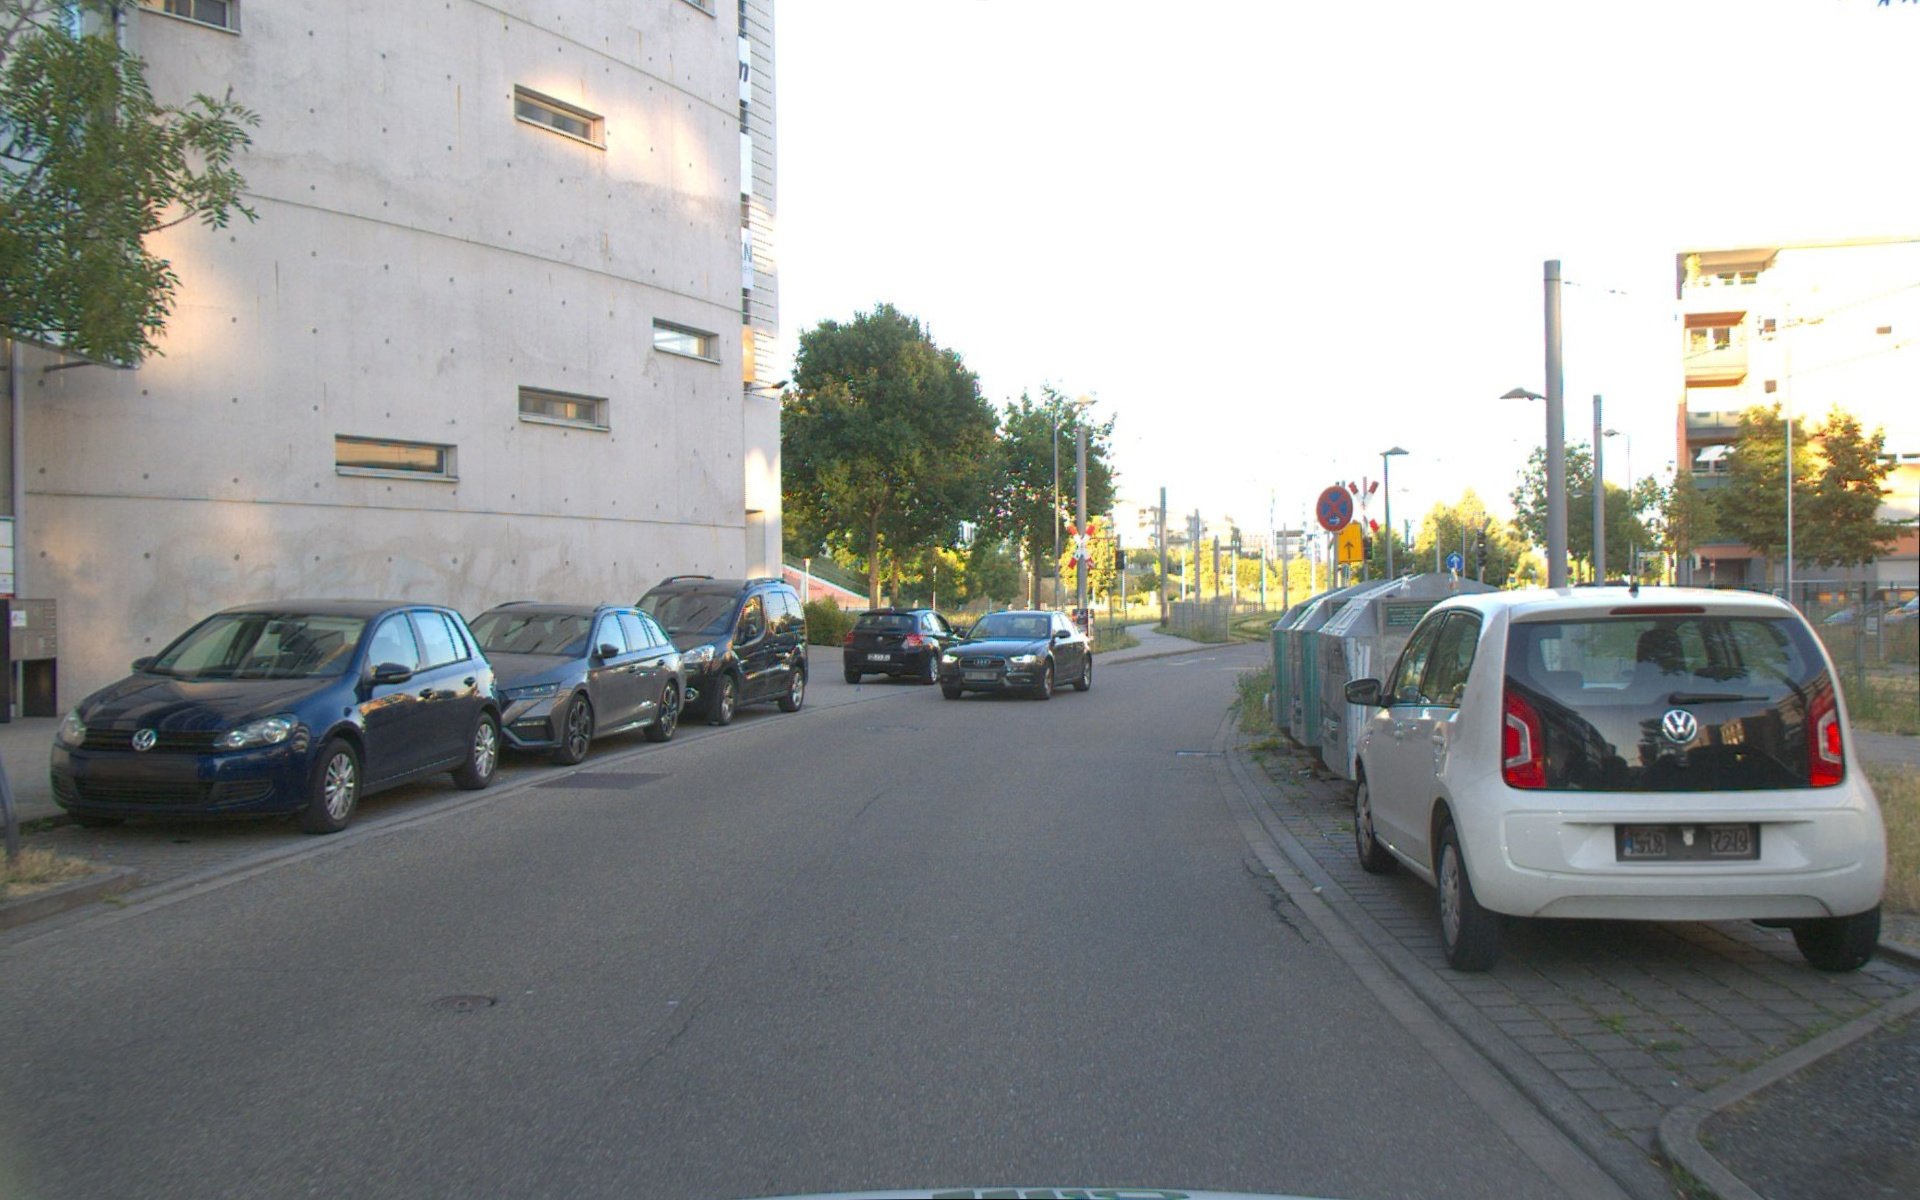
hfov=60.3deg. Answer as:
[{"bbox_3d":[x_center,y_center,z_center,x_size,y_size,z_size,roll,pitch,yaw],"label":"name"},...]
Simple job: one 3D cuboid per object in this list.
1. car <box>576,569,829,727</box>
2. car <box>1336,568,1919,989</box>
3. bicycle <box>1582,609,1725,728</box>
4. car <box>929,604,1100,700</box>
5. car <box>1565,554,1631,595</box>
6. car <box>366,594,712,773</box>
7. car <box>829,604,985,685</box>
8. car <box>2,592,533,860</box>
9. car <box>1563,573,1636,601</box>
[{"bbox_3d":[-3.249,0.549,21.867,1.720,1.830,4.467,1,1,13],"label":"car"},{"bbox_3d":[2.847,0.633,7.719,1.686,1.493,3.555,-1,0,6],"label":"car"},{"bbox_3d":[6.895,0.656,16.535,0.747,1.101,1.690,-1,0,2],"label":"bicycle"},{"bbox_3d":[1.007,0.804,27.765,1.740,1.447,4.518,0,0,17],"label":"car"},{"bbox_3d":[42.847,-1.706,111.113,4.067,2.629,1.703,-1,0,20],"label":"car"},{"bbox_3d":[-4.035,0.716,16.741,1.686,1.483,4.698,1,1,8],"label":"car"},{"bbox_3d":[-0.959,0.818,32.545,1.903,1.407,4.403,1,1,14],"label":"car"},{"bbox_3d":[-4.590,0.720,11.750,1.686,1.483,4.274,1,1,4],"label":"car"},{"bbox_3d":[39.001,-0.775,100.917,4.069,1.603,1.702,-1,0,24],"label":"car"}]
